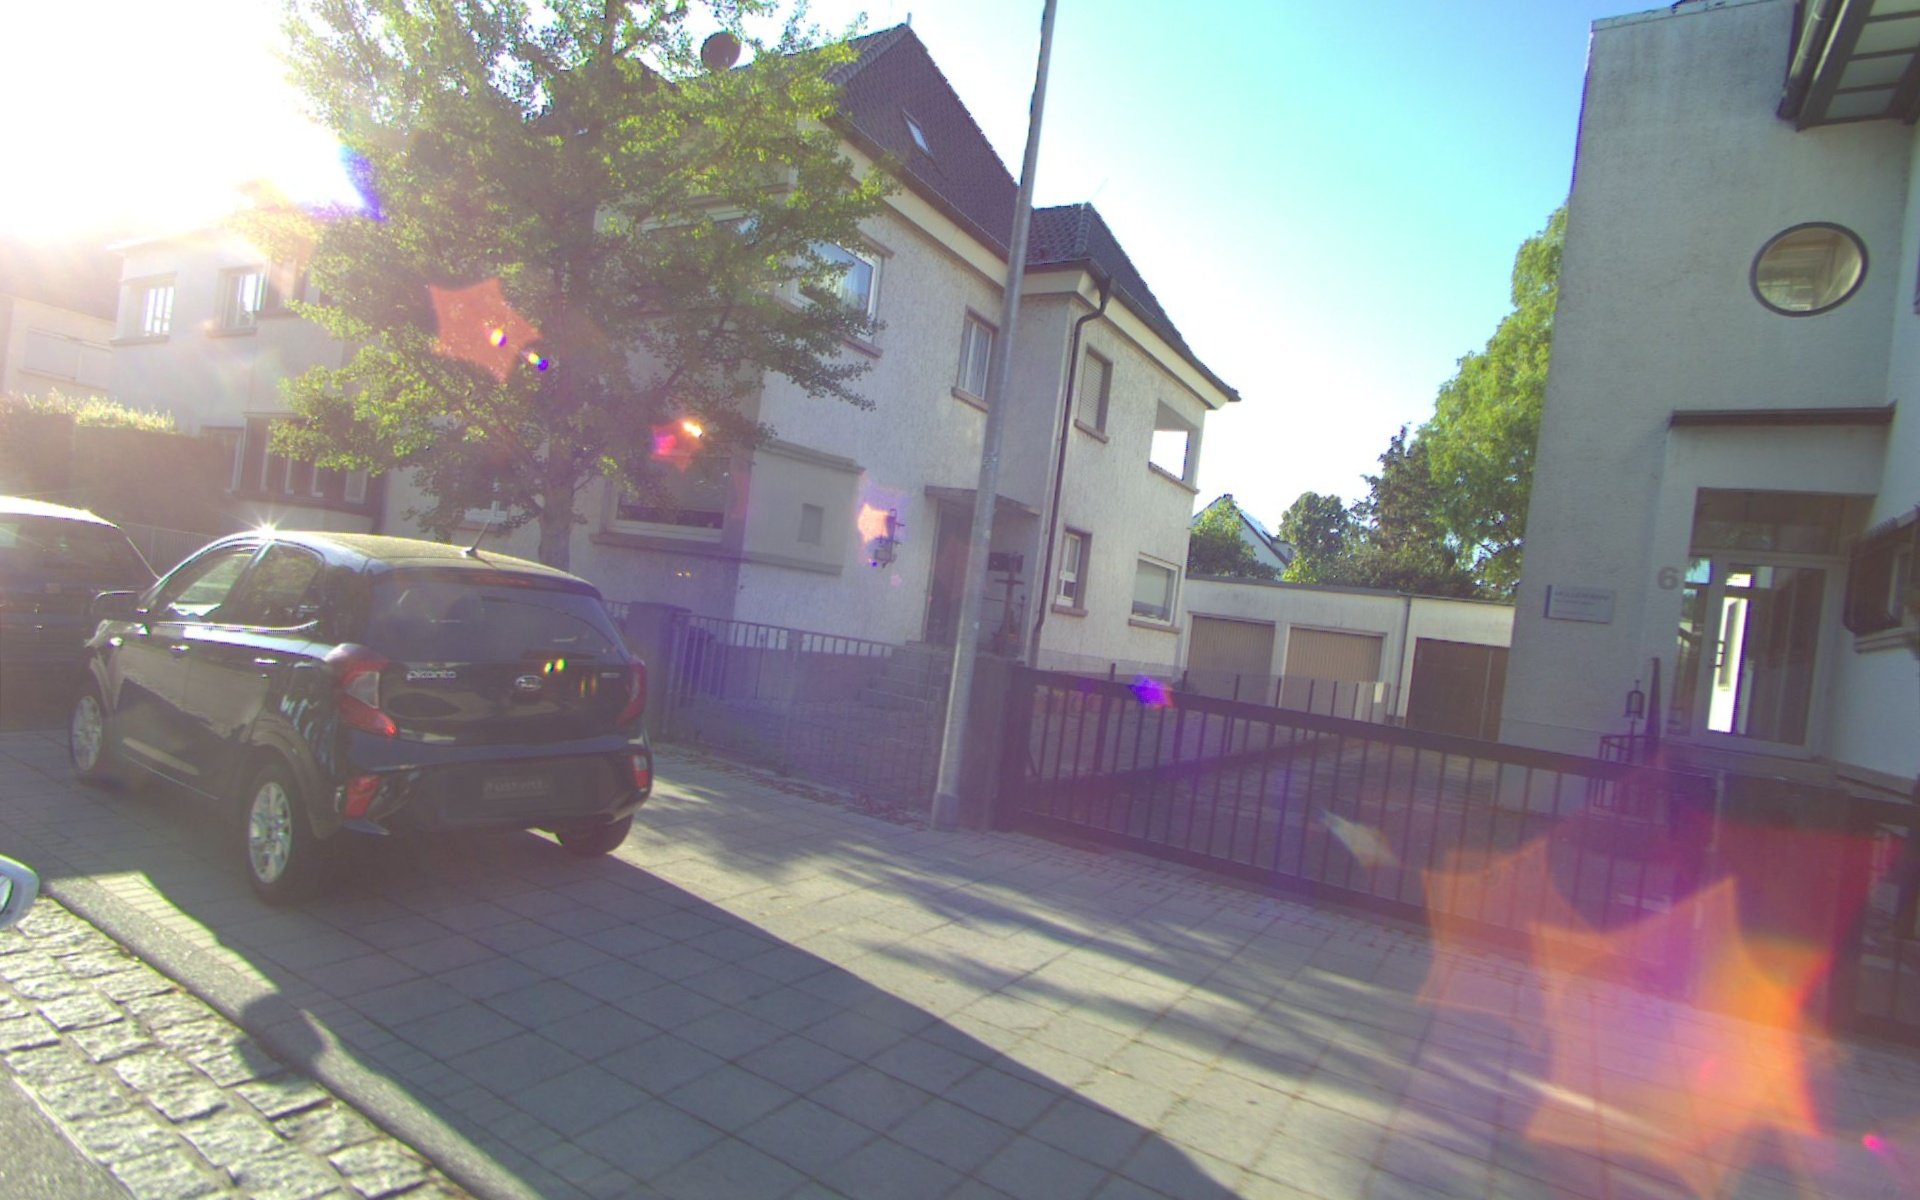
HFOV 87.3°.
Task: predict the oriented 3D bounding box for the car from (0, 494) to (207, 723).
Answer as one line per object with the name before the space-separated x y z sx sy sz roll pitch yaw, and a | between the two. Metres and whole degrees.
car | -7.795 -0.122 7.703 4.127 1.467 1.738 7 1 31

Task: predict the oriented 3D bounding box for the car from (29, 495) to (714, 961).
car | -3.208 0.394 5.244 3.658 1.513 1.657 7 1 36
